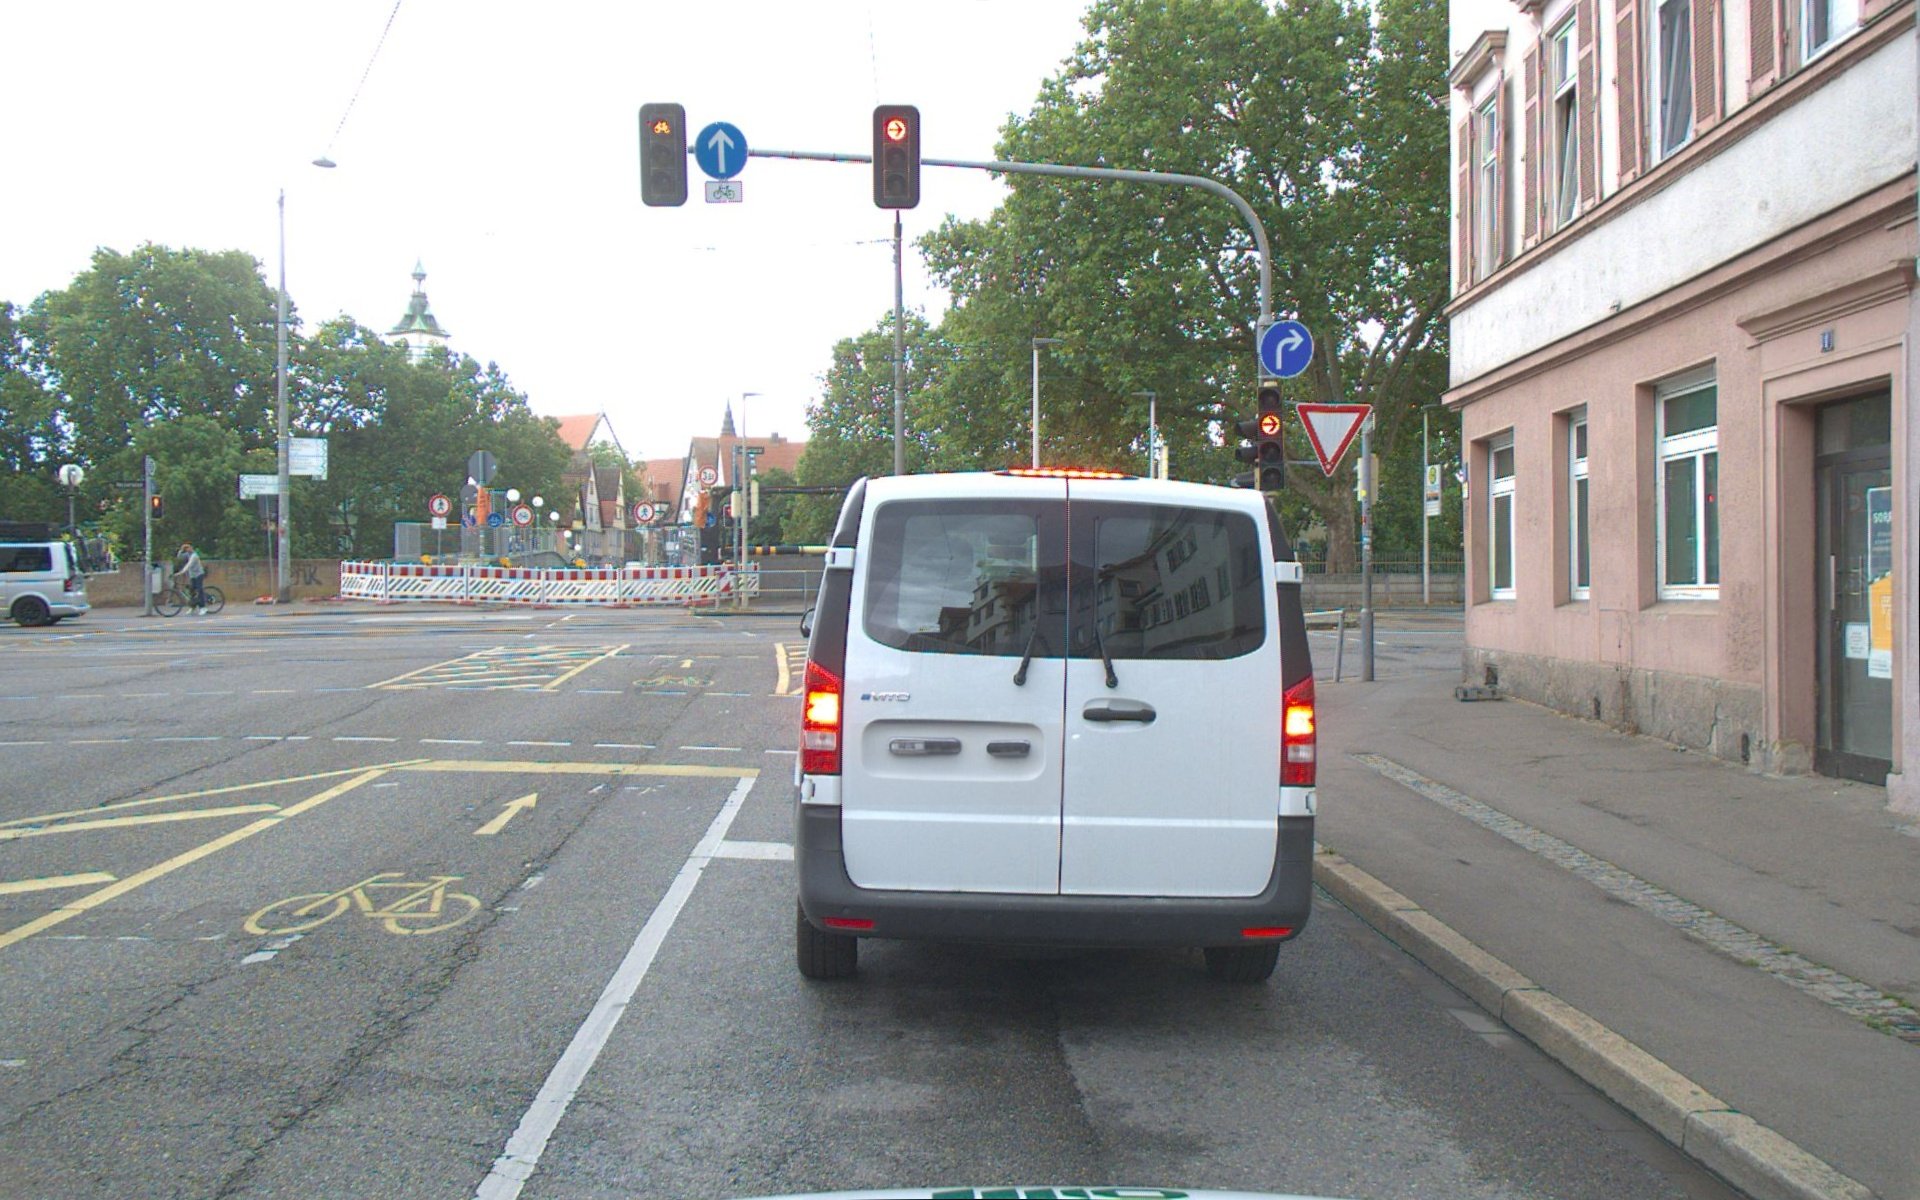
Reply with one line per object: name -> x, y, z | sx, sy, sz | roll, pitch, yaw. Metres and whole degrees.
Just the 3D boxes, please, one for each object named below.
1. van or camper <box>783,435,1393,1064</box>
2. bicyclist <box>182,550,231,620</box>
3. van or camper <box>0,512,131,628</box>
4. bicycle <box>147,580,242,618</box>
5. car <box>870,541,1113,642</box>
van or camper -> 0.267, 0.404, 7.421 | 1.899, 1.958, 4.438 | 1, 2, -4
bicyclist -> -19.389, -0.402, 42.558 | 0.996, 1.774, 0.743 | -1, 2, -43
van or camper -> -22.115, -0.630, 37.819 | 5.309, 2.557, 2.026 | -2, 0, -19
bicycle -> -19.702, -0.031, 42.590 | 2.120, 0.907, 0.749 | -1, 2, -42
car -> 0.497, -0.177, 28.252 | 3.988, 1.600, 1.828 | -1, 2, -2
